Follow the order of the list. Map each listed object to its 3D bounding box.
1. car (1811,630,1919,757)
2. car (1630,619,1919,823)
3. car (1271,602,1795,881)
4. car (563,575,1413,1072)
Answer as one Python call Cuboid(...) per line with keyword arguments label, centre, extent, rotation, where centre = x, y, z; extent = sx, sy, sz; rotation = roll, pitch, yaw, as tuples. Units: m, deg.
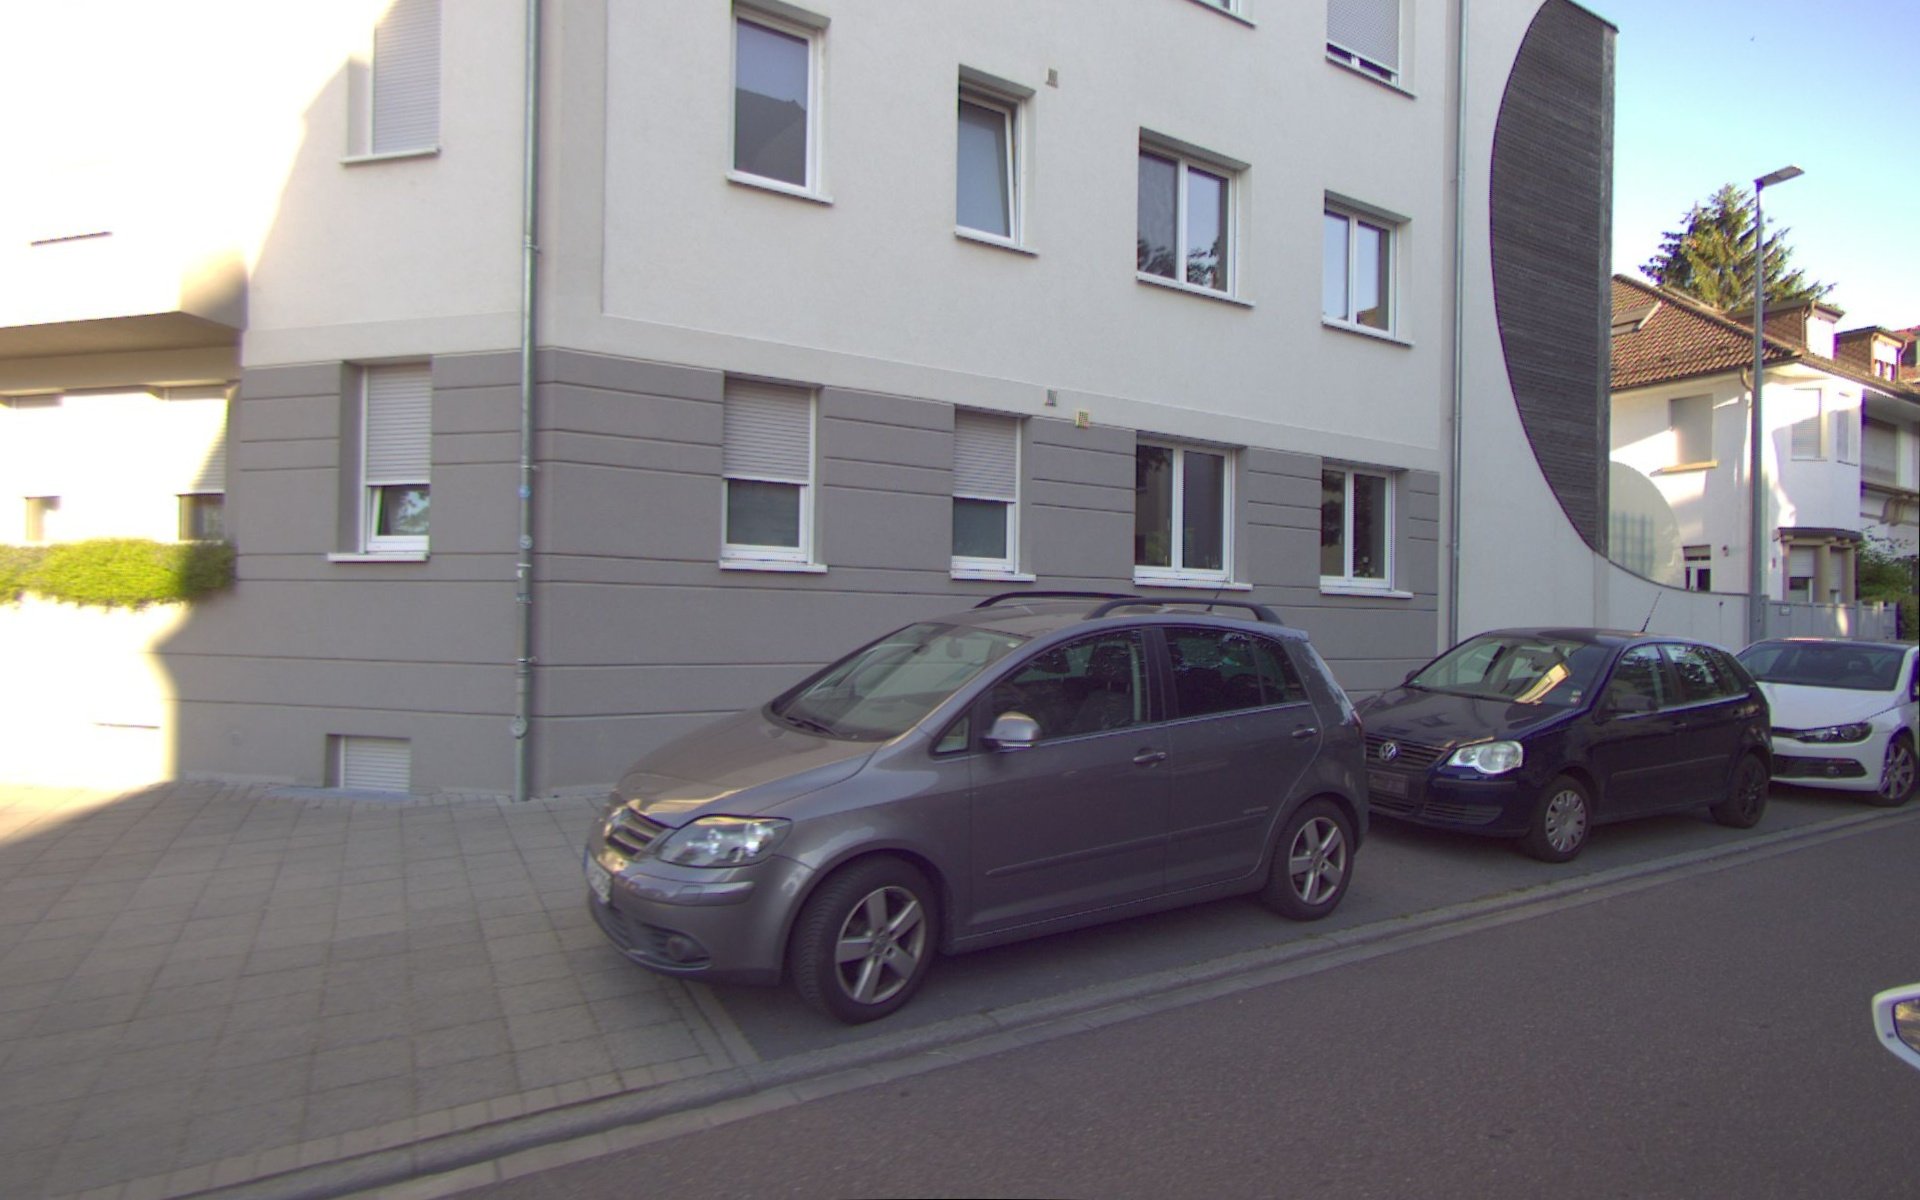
Cuboid(label="car", centre=(12.927, 1.152, 12.942), extent=(4.093, 1.466, 1.750), rotation=(2, -1, -30))
Cuboid(label="car", centre=(8.572, 1.013, 9.877), extent=(4.046, 1.612, 1.873), rotation=(1, -1, -33))
Cuboid(label="car", centre=(4.481, 0.865, 7.711), extent=(4.046, 1.612, 1.873), rotation=(1, -1, -33))
Cuboid(label="car", centre=(0.282, 0.774, 5.166), extent=(4.046, 1.612, 1.873), rotation=(1, -1, -33))
